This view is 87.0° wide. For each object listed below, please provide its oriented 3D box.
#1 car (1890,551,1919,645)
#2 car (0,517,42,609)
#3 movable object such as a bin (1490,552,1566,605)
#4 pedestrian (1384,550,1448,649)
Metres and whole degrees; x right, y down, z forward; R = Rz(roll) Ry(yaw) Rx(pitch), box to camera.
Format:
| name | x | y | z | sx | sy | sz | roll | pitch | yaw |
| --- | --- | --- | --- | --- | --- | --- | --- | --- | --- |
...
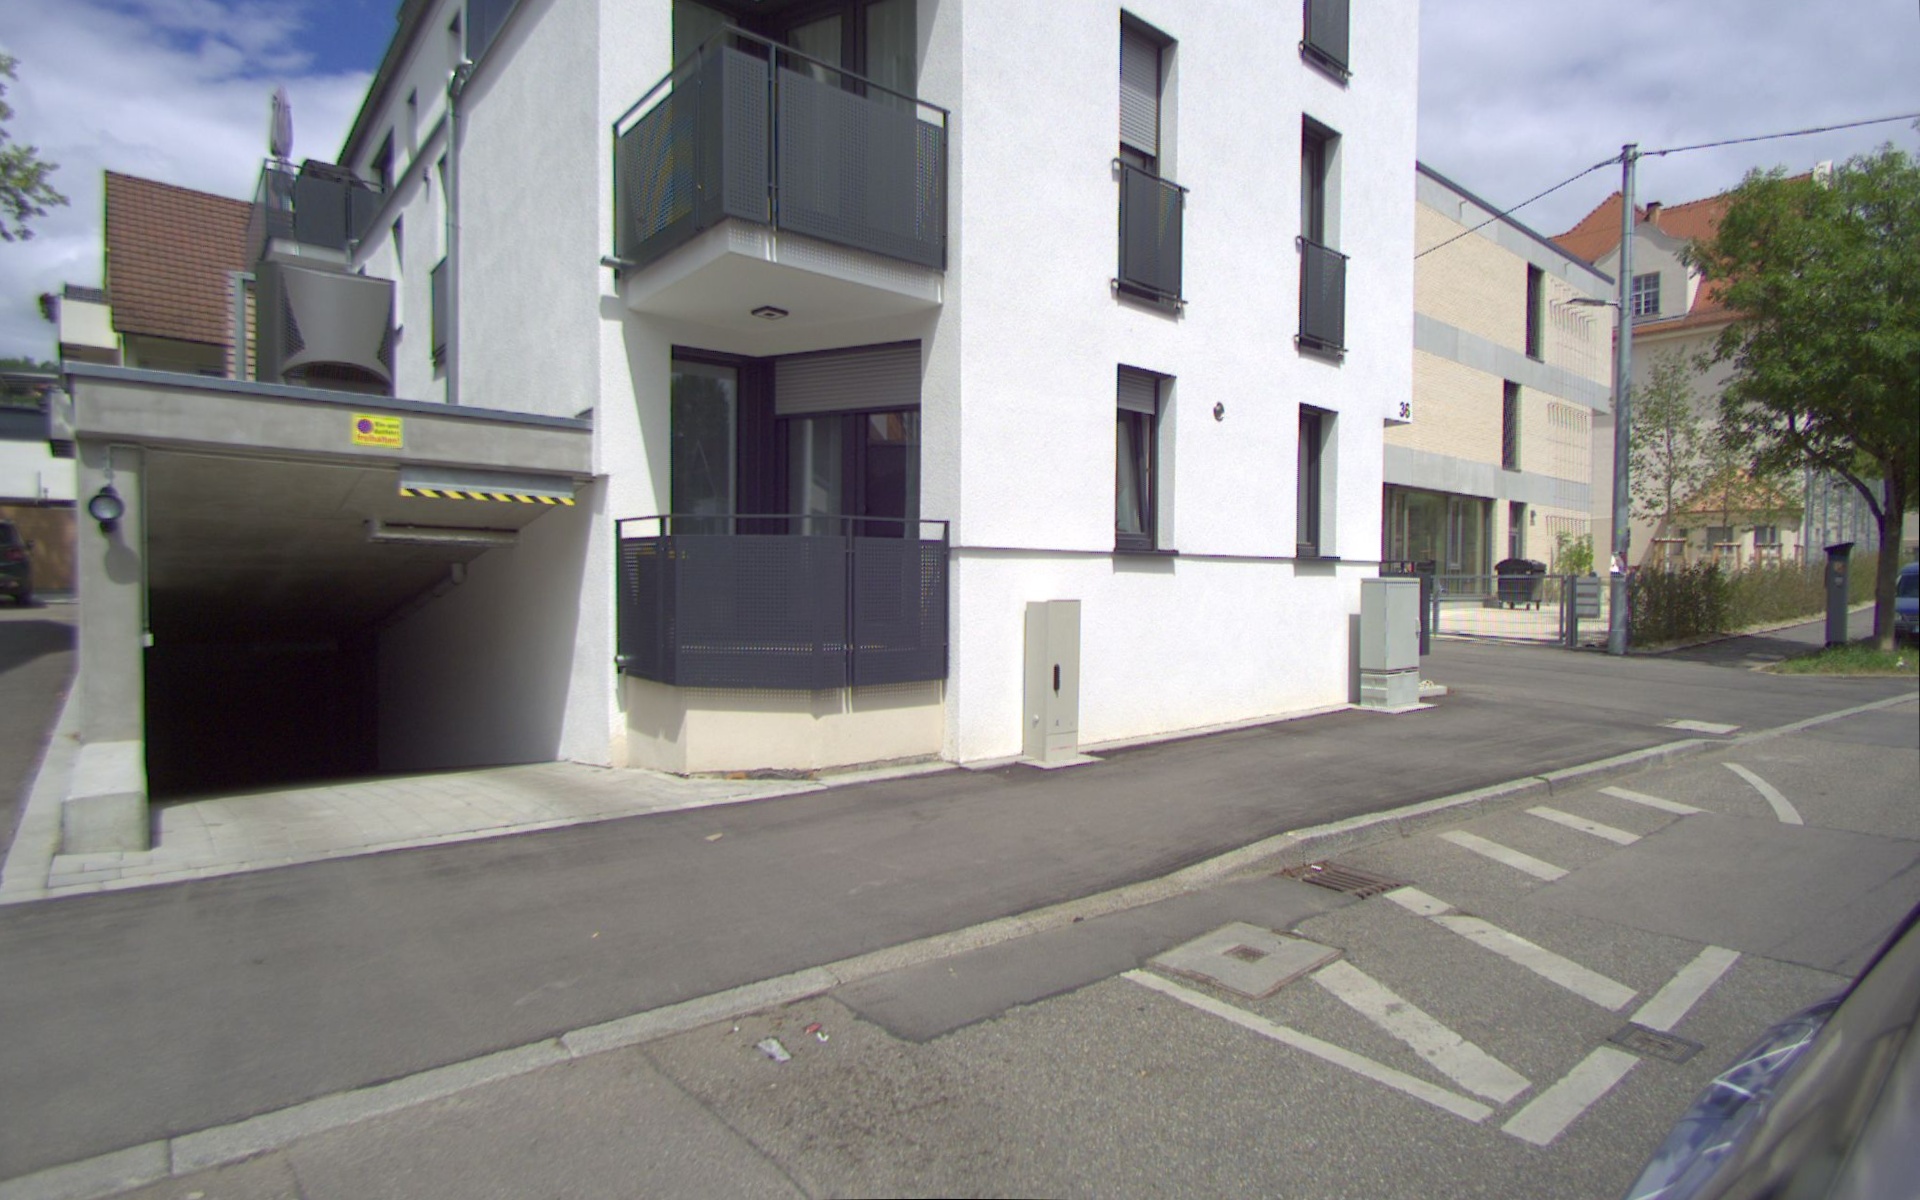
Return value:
| name | x | y | z | sx | sy | sz | roll | pitch | yaw |
| --- | --- | --- | --- | --- | --- | --- | --- | --- | --- |
| car | 19.939 | -0.089 | 20.066 | 4.087 | 1.764 | 1.698 | -2 | 3 | -40 |
| car | -18.943 | -0.761 | 19.473 | 1.657 | 1.643 | 3.997 | 0 | 2 | -39 |
| movable object such as a bin | 16.247 | -0.632 | 28.963 | 1.775 | 1.465 | 1.351 | -2 | 2 | -39 |
| pedestrian | 8.183 | -0.022 | 18.154 | 0.815 | 1.724 | 0.774 | -2 | 1 | -41 |
